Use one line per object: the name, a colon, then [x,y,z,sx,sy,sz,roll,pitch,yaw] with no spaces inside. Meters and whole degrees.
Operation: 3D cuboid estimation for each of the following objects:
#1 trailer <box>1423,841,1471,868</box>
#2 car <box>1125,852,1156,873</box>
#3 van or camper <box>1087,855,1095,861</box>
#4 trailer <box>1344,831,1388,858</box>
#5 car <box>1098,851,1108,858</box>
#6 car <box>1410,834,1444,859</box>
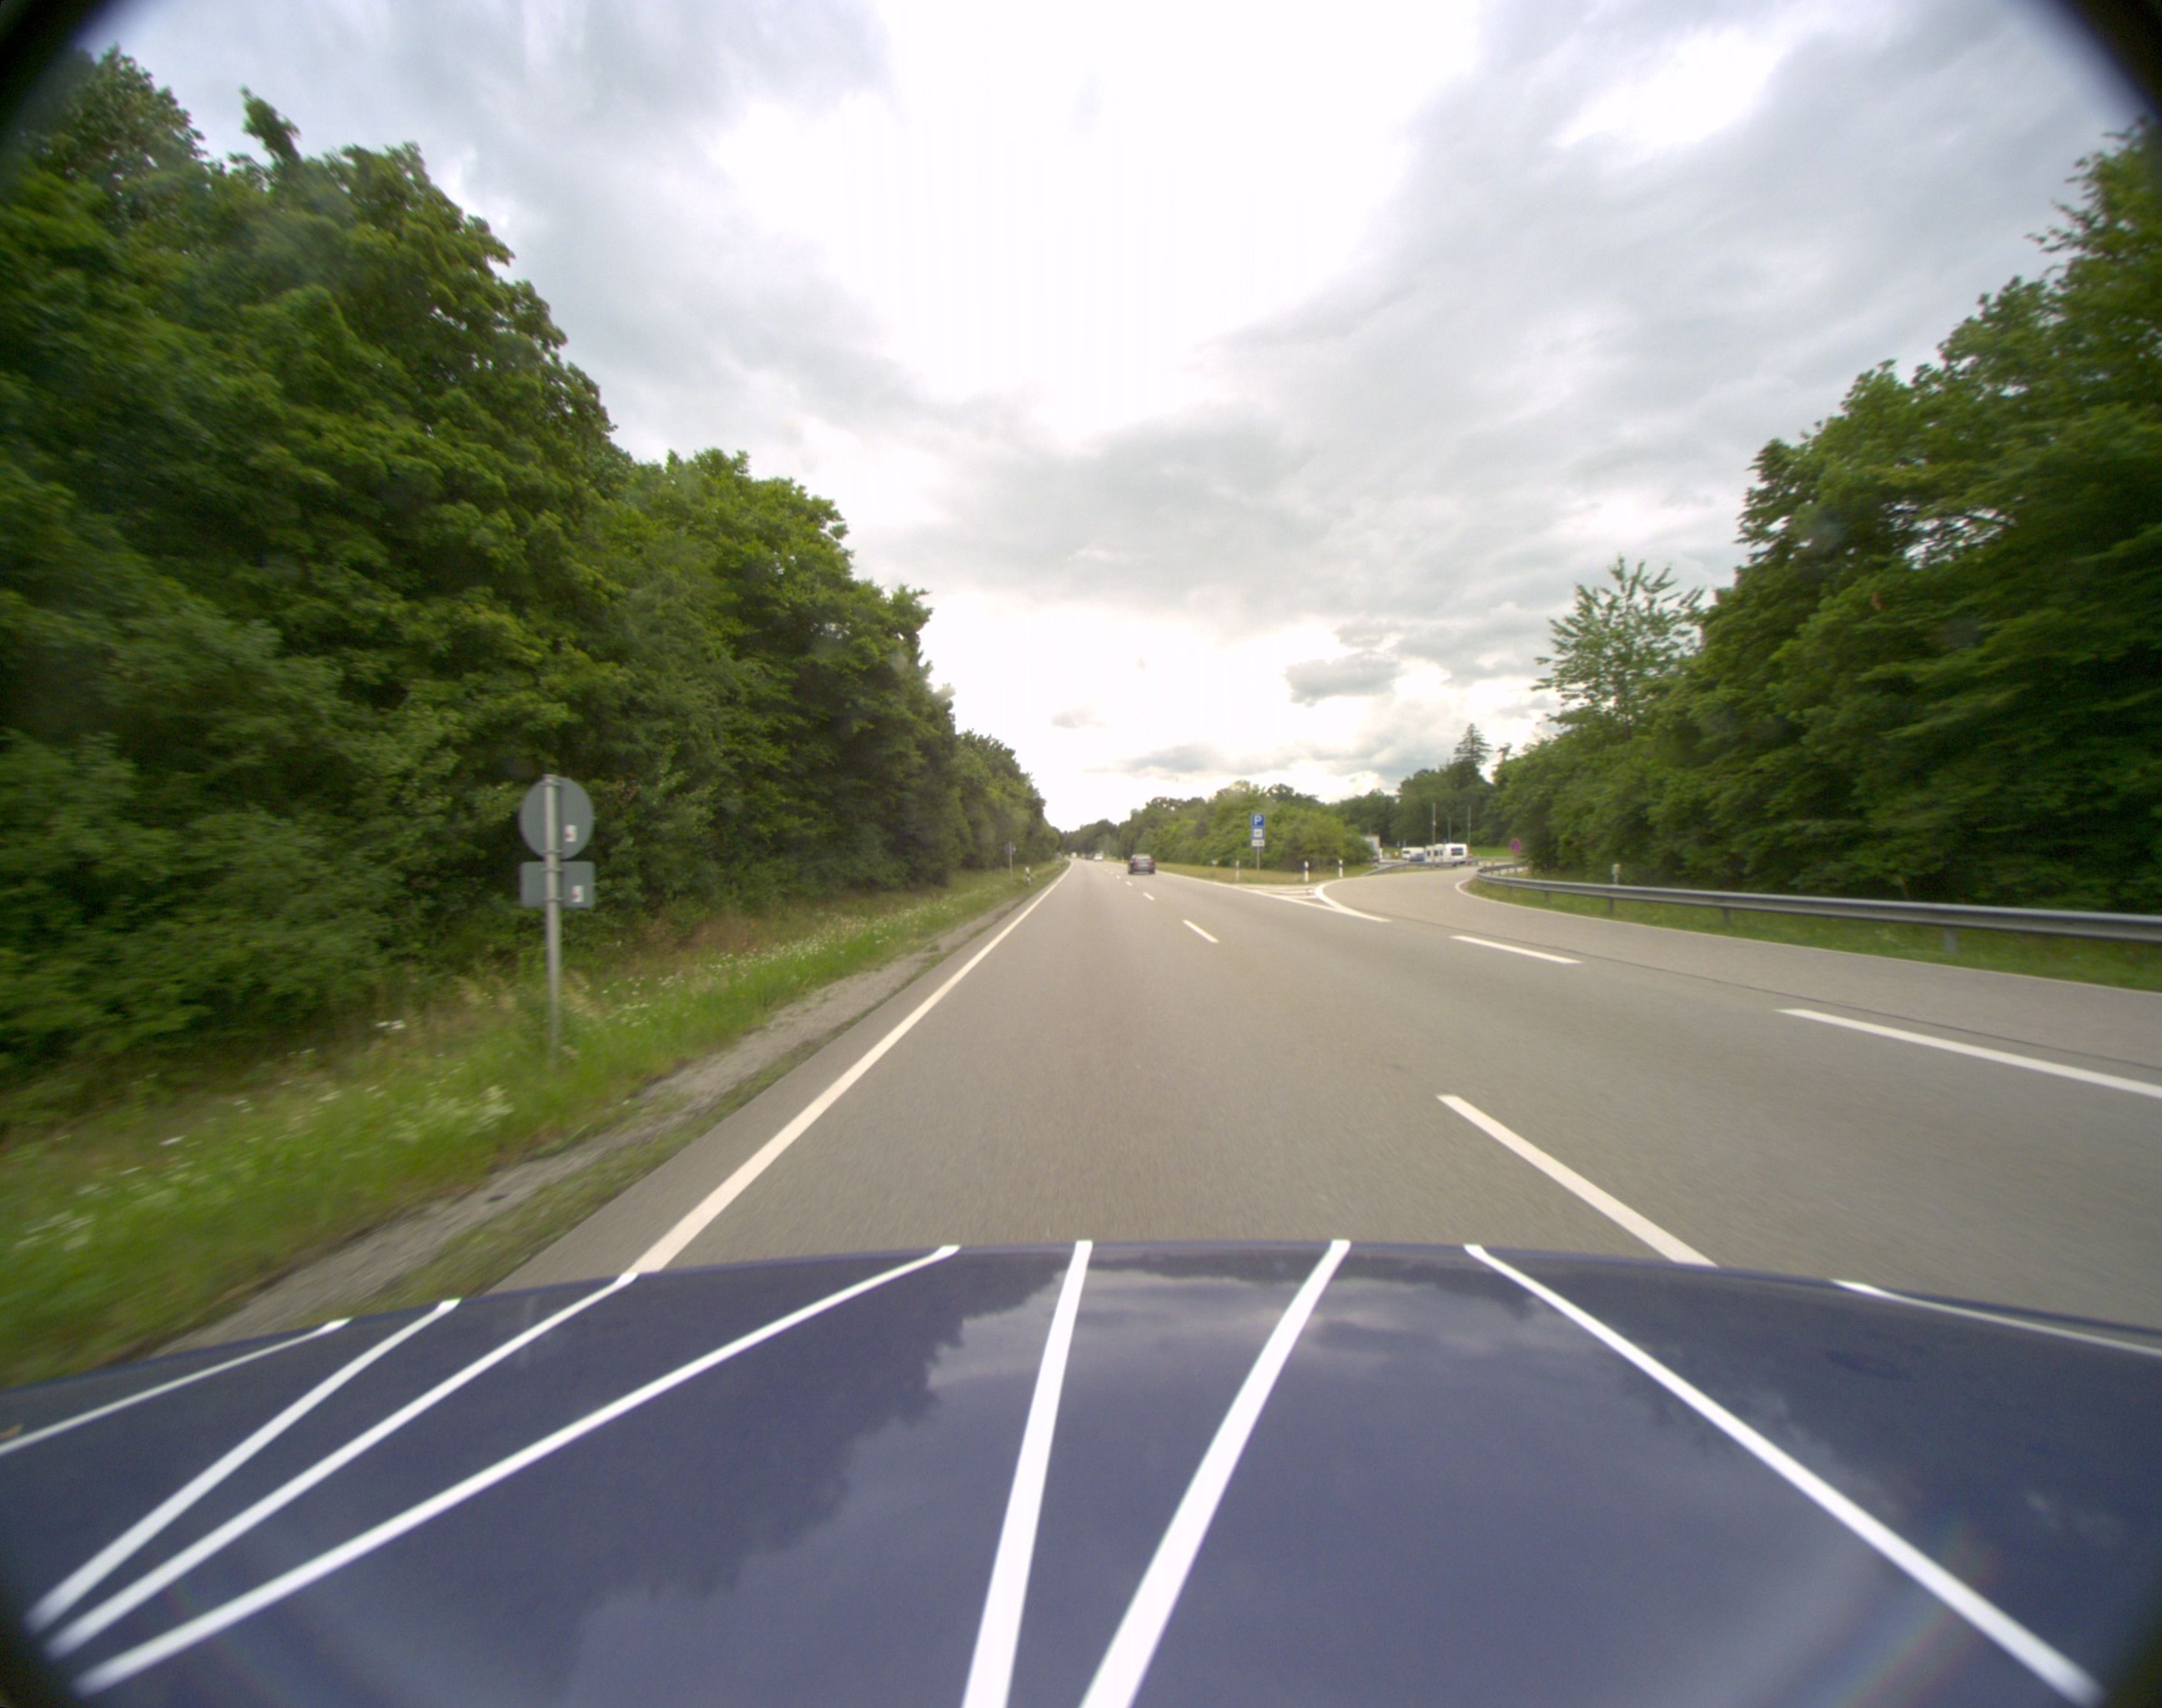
trailer: [42.207,0.011,87.943,2.485,2.947,7.395,-2,0,5]
car: [4.416,0.574,56.765,1.813,1.434,4.446,-2,0,-1]
van or camper: [3.073,1.179,227.841,1.999,1.772,4.420,-2,0,-5]
trailer: [35.746,-1.181,95.487,4.688,3.234,2.000,-2,1,0]
car: [5.090,0.106,177.114,1.918,1.770,4.611,-2,0,-1]
car: [42.726,-0.869,94.013,2.403,2.944,4.602,-2,1,5]
